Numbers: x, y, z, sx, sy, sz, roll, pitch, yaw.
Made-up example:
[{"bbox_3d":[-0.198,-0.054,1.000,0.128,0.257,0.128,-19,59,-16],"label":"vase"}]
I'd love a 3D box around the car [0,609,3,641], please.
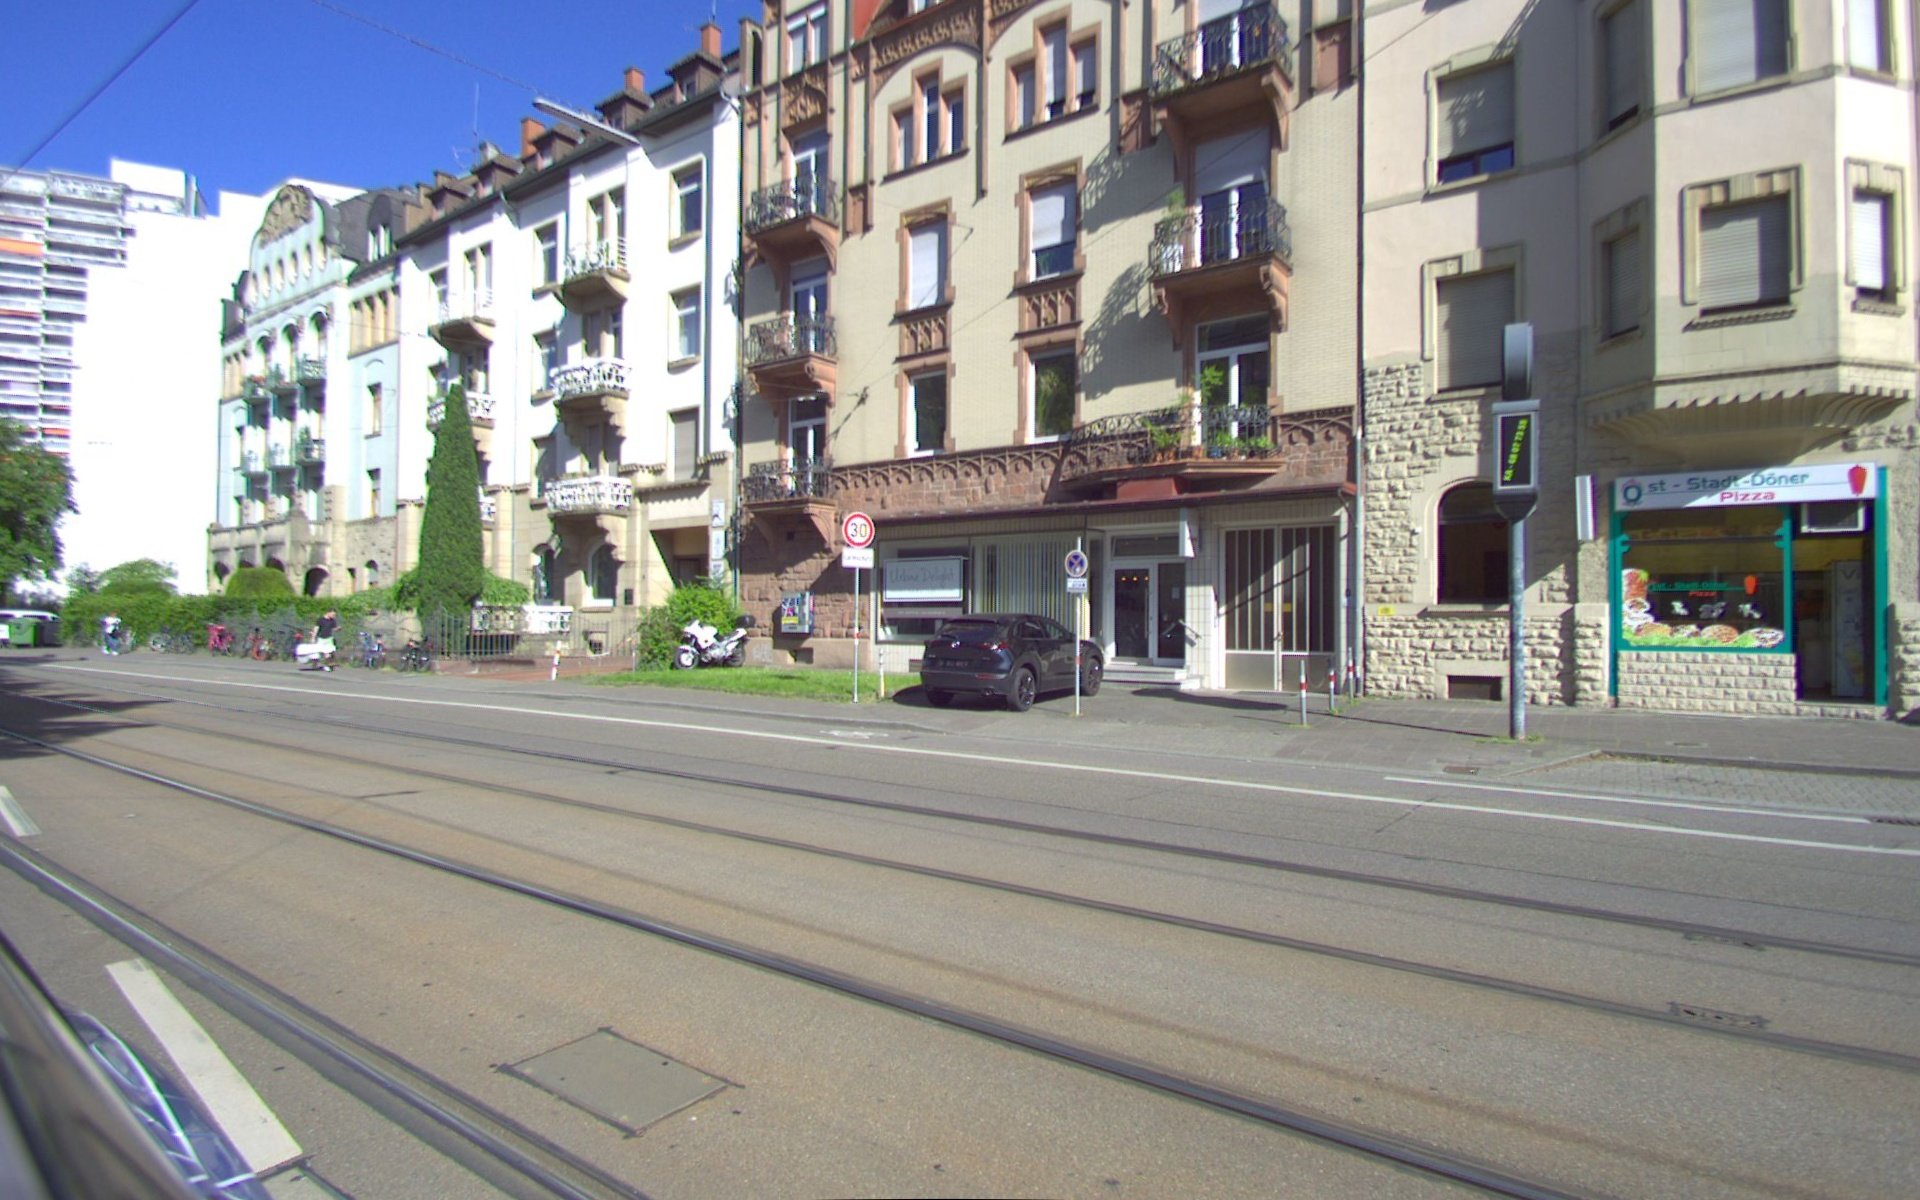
[{"bbox_3d":[-56.900,1.463,57.574,1.893,1.885,3.449,0,0,-7],"label":"car"}]

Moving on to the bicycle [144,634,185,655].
[{"bbox_3d":[-31.419,1.744,39.971,0.297,0.799,1.247,0,0,38],"label":"bicycle"}]

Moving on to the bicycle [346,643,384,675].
[{"bbox_3d":[-15.869,1.557,26.996,1.650,0.767,0.314,0,0,39],"label":"bicycle"}]

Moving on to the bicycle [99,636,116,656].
[{"bbox_3d":[-34.893,1.873,41.408,1.262,0.767,0.293,0,0,39],"label":"bicycle"}]

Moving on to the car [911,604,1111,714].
[{"bbox_3d":[0.999,0.893,17.386,1.766,1.514,3.957,0,2,31],"label":"car"}]

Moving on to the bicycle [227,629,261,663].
[{"bbox_3d":[-22.898,1.459,32.371,1.814,1.031,0.400,0,0,39],"label":"bicycle"}]

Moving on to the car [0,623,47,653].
[{"bbox_3d":[-48.477,1.918,51.458,1.450,1.446,2.736,0,0,21],"label":"car"}]

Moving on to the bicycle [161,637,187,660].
[{"bbox_3d":[-28.271,1.743,36.401,1.580,0.767,0.400,0,0,39],"label":"bicycle"}]

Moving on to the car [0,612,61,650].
[{"bbox_3d":[-46.090,1.550,49.618,1.437,1.787,3.191,0,-3,-7],"label":"car"}]

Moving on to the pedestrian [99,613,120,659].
[{"bbox_3d":[-31.461,1.323,37.426,0.658,1.641,0.470,0,0,39],"label":"pedestrian"}]

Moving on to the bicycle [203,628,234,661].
[{"bbox_3d":[-24.734,1.480,33.752,1.814,1.031,0.400,0,0,39],"label":"bicycle"}]

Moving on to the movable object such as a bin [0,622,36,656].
[{"bbox_3d":[-43.957,1.790,46.825,2.093,1.443,1.494,0,0,39],"label":"movable object such as a bin"}]

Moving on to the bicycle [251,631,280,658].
[{"bbox_3d":[-21.498,1.359,31.308,1.541,0.767,0.314,0,0,39],"label":"bicycle"}]

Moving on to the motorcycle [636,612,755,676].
[{"bbox_3d":[-6.532,1.043,25.184,0.822,1.467,3.057,0,0,35],"label":"motorcycle"}]

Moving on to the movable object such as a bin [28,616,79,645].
[{"bbox_3d":[-43.687,1.451,48.765,2.093,1.326,1.483,0,0,39],"label":"movable object such as a bin"}]

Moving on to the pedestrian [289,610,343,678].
[{"bbox_3d":[-16.707,1.121,26.257,0.869,1.640,0.859,0,4,38],"label":"pedestrian"}]

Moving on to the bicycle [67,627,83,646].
[{"bbox_3d":[-38.674,1.584,44.210,1.262,0.767,0.293,0,0,39],"label":"bicycle"}]

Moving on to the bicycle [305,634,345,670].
[{"bbox_3d":[-18.121,1.458,28.865,1.747,0.949,0.400,0,0,39],"label":"bicycle"}]

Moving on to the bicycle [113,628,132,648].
[{"bbox_3d":[-33.393,1.500,40.352,1.262,0.767,0.314,0,0,39],"label":"bicycle"}]

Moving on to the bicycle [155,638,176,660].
[{"bbox_3d":[-29.384,1.802,37.417,1.262,0.767,0.335,0,0,39],"label":"bicycle"}]

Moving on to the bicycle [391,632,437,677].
[{"bbox_3d":[-13.948,1.375,25.830,1.747,1.047,0.400,0,0,39],"label":"bicycle"}]

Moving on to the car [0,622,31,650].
[{"bbox_3d":[-51.156,1.928,53.450,1.450,1.446,2.736,0,0,21],"label":"car"}]

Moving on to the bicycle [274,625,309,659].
[{"bbox_3d":[-20.022,1.239,30.296,1.647,0.949,0.400,0,0,39],"label":"bicycle"}]
